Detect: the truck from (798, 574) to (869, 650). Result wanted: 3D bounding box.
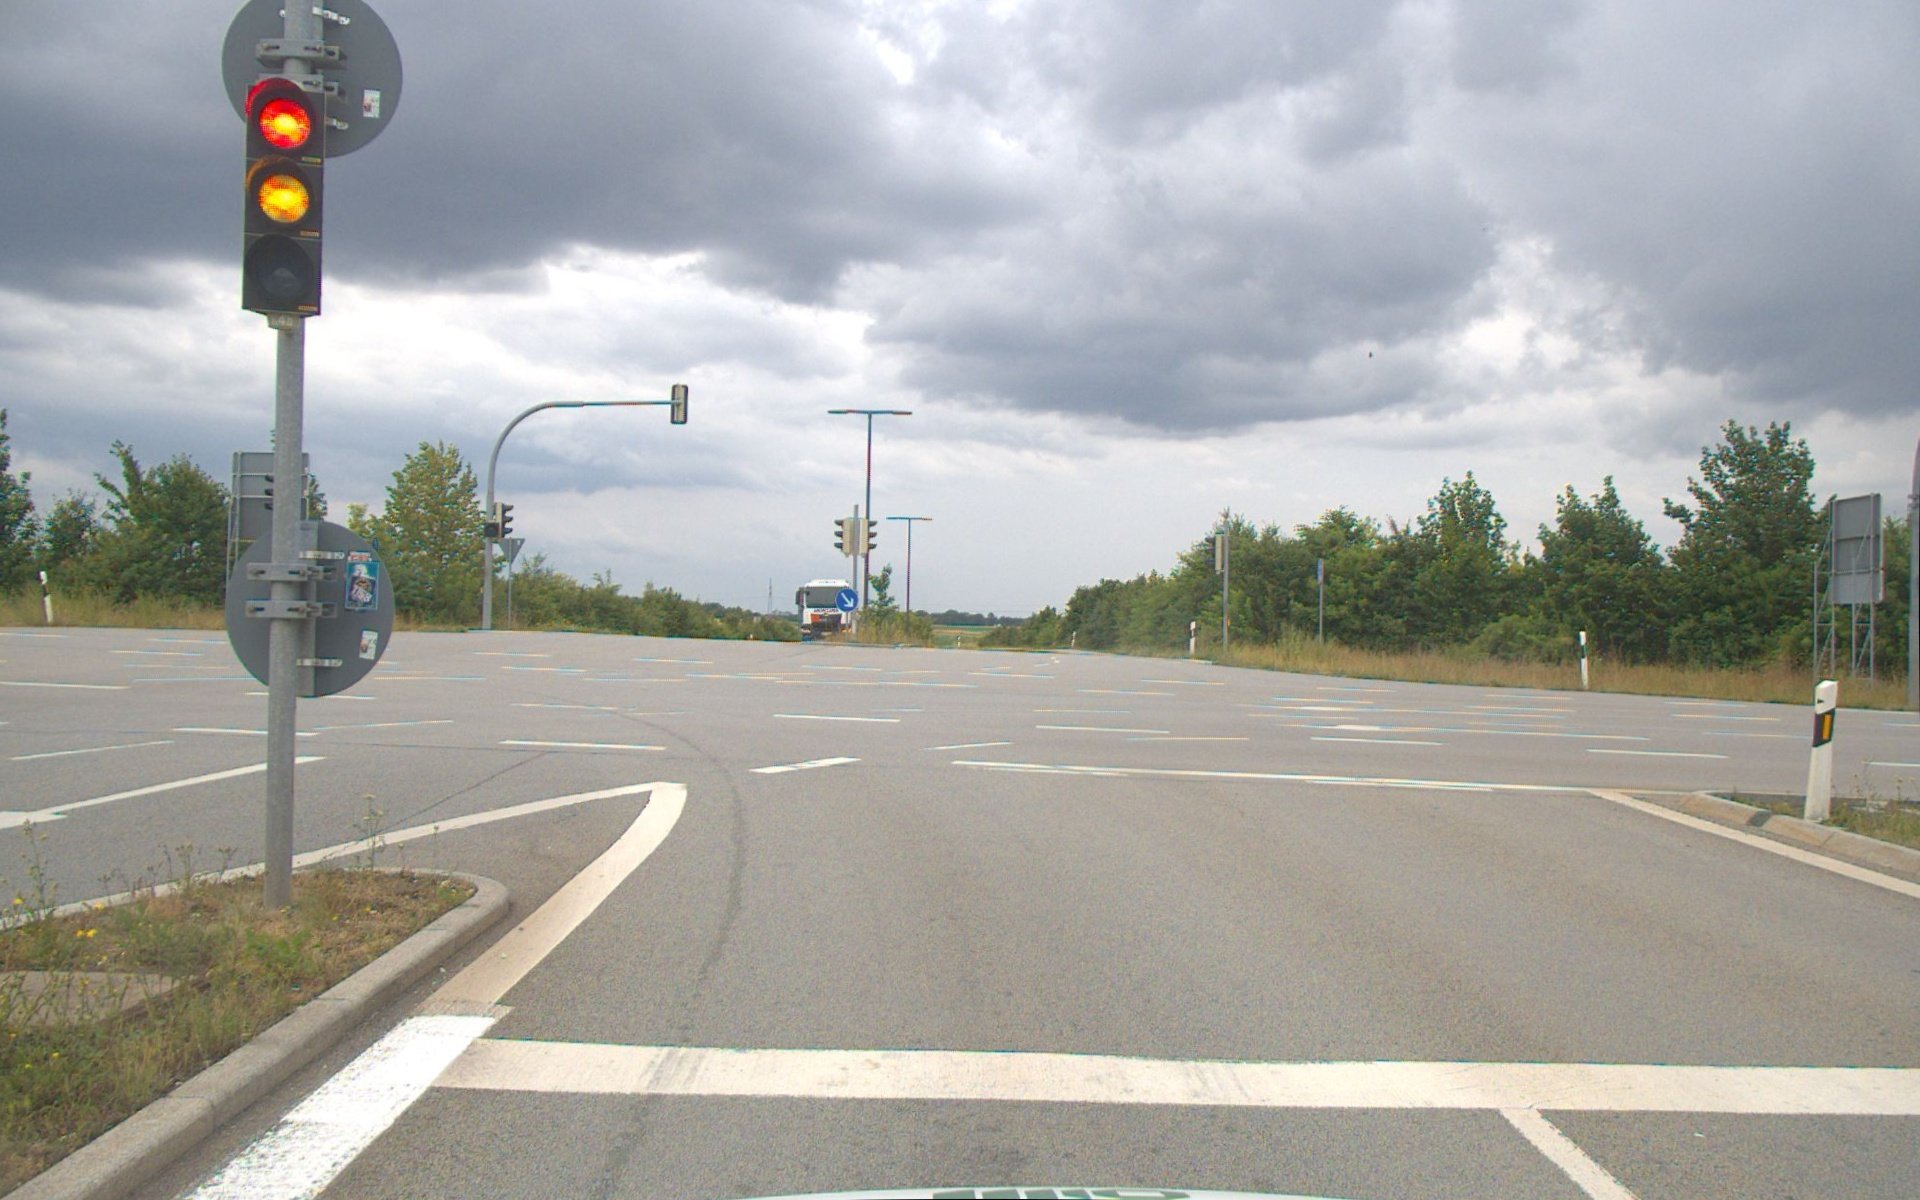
[{"bbox_3d":[-6.064,0.656,80.500,2.811,3.468,8.648,1,-1,0],"label":"truck"}]
